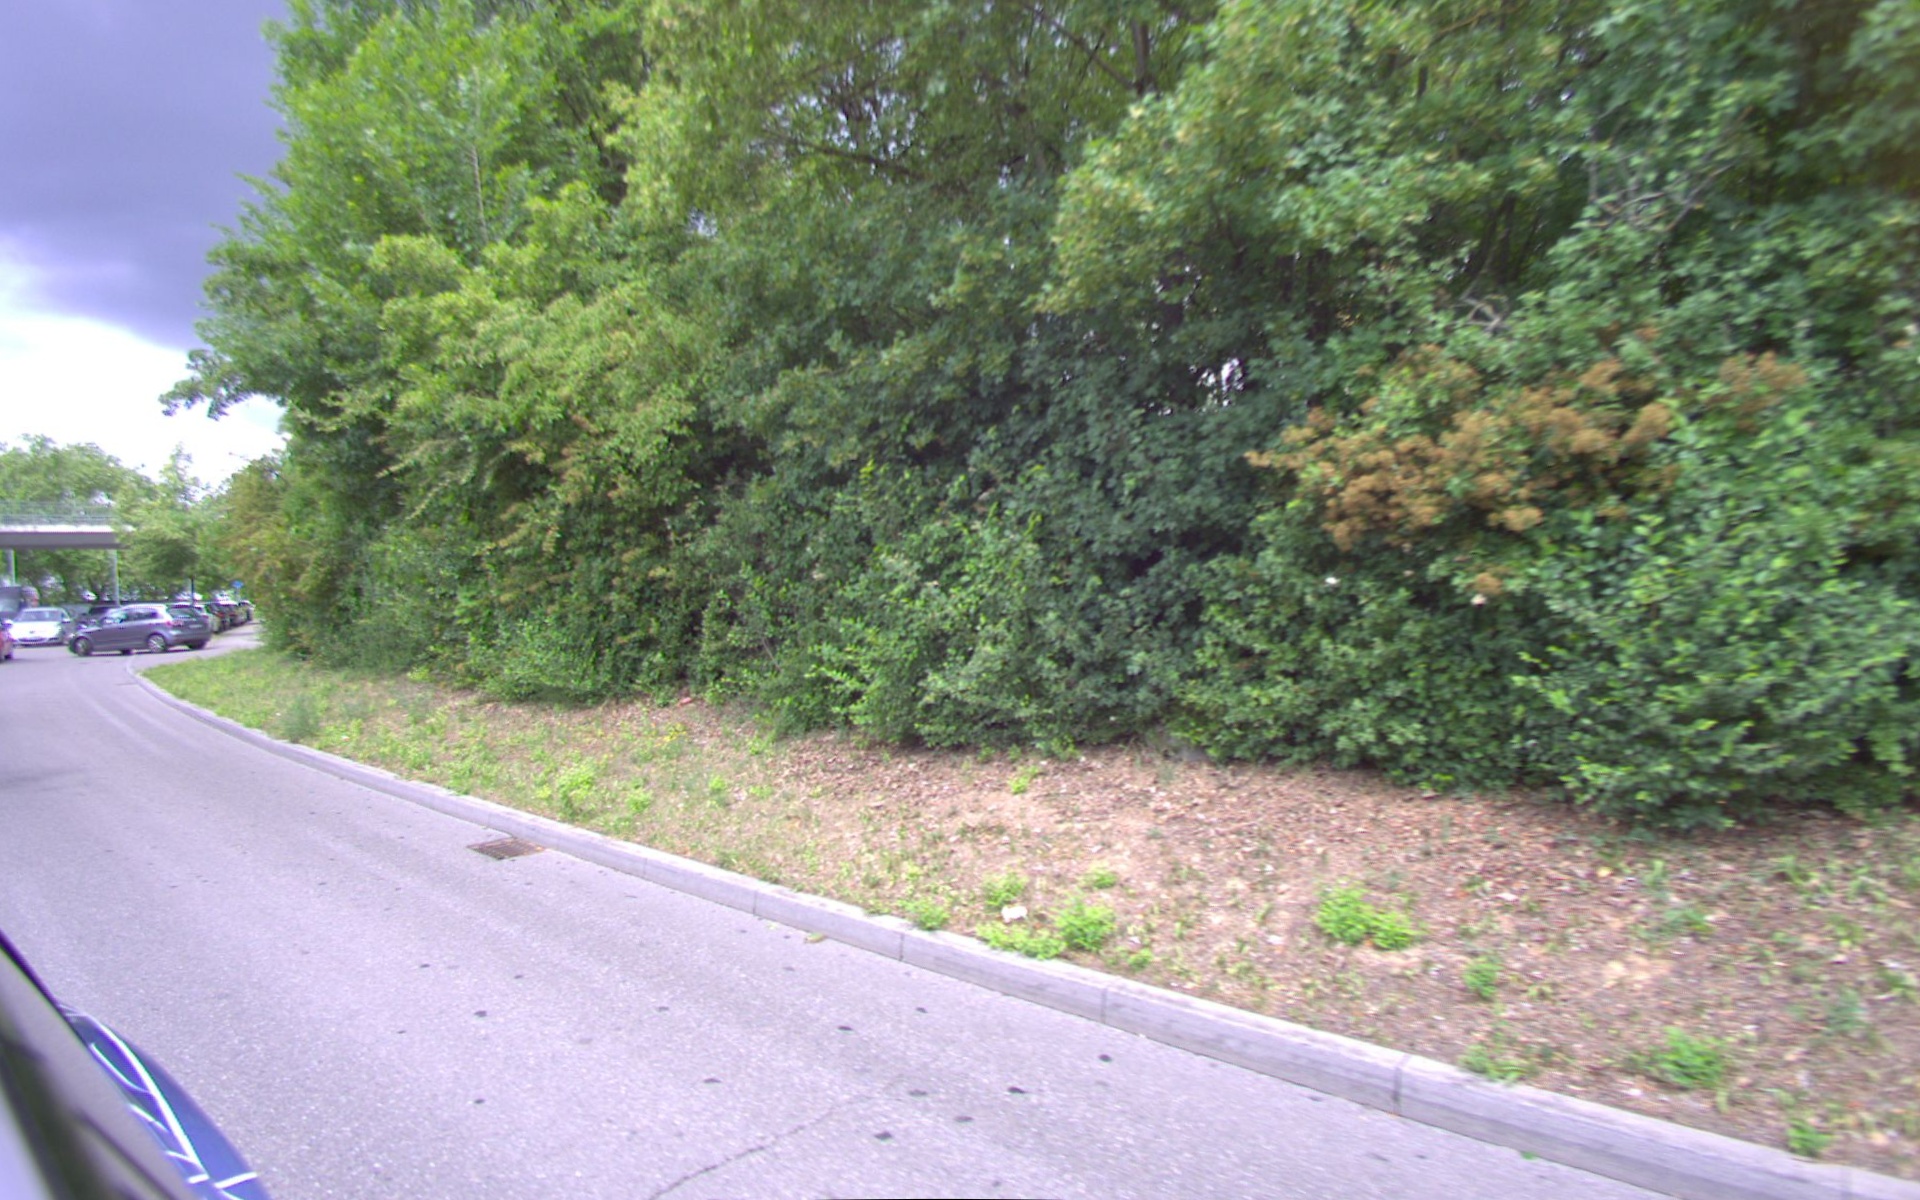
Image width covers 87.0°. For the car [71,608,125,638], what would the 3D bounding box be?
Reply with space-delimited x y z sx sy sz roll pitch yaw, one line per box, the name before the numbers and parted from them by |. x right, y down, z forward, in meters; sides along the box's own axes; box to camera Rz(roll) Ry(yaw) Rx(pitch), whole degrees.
car | -46.470 1.255 54.607 1.752 1.431 4.010 3 -5 -34

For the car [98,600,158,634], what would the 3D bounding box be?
car | -38.398 0.762 46.785 1.817 1.467 3.662 -1 1 -35

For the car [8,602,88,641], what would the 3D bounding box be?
car | -37.672 0.856 41.890 1.751 1.463 4.012 -1 1 -32

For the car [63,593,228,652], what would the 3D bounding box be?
car | -26.712 0.718 33.252 4.065 1.674 1.756 -3 0 3

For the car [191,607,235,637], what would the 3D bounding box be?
car | -42.425 1.242 57.548 1.784 1.491 4.498 -4 2 -34

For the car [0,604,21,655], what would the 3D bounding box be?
car | -29.344 0.892 30.214 1.835 1.453 4.003 -2 1 -44

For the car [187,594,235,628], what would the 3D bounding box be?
car | -38.909 0.537 52.640 1.784 1.596 3.996 -4 2 -34
